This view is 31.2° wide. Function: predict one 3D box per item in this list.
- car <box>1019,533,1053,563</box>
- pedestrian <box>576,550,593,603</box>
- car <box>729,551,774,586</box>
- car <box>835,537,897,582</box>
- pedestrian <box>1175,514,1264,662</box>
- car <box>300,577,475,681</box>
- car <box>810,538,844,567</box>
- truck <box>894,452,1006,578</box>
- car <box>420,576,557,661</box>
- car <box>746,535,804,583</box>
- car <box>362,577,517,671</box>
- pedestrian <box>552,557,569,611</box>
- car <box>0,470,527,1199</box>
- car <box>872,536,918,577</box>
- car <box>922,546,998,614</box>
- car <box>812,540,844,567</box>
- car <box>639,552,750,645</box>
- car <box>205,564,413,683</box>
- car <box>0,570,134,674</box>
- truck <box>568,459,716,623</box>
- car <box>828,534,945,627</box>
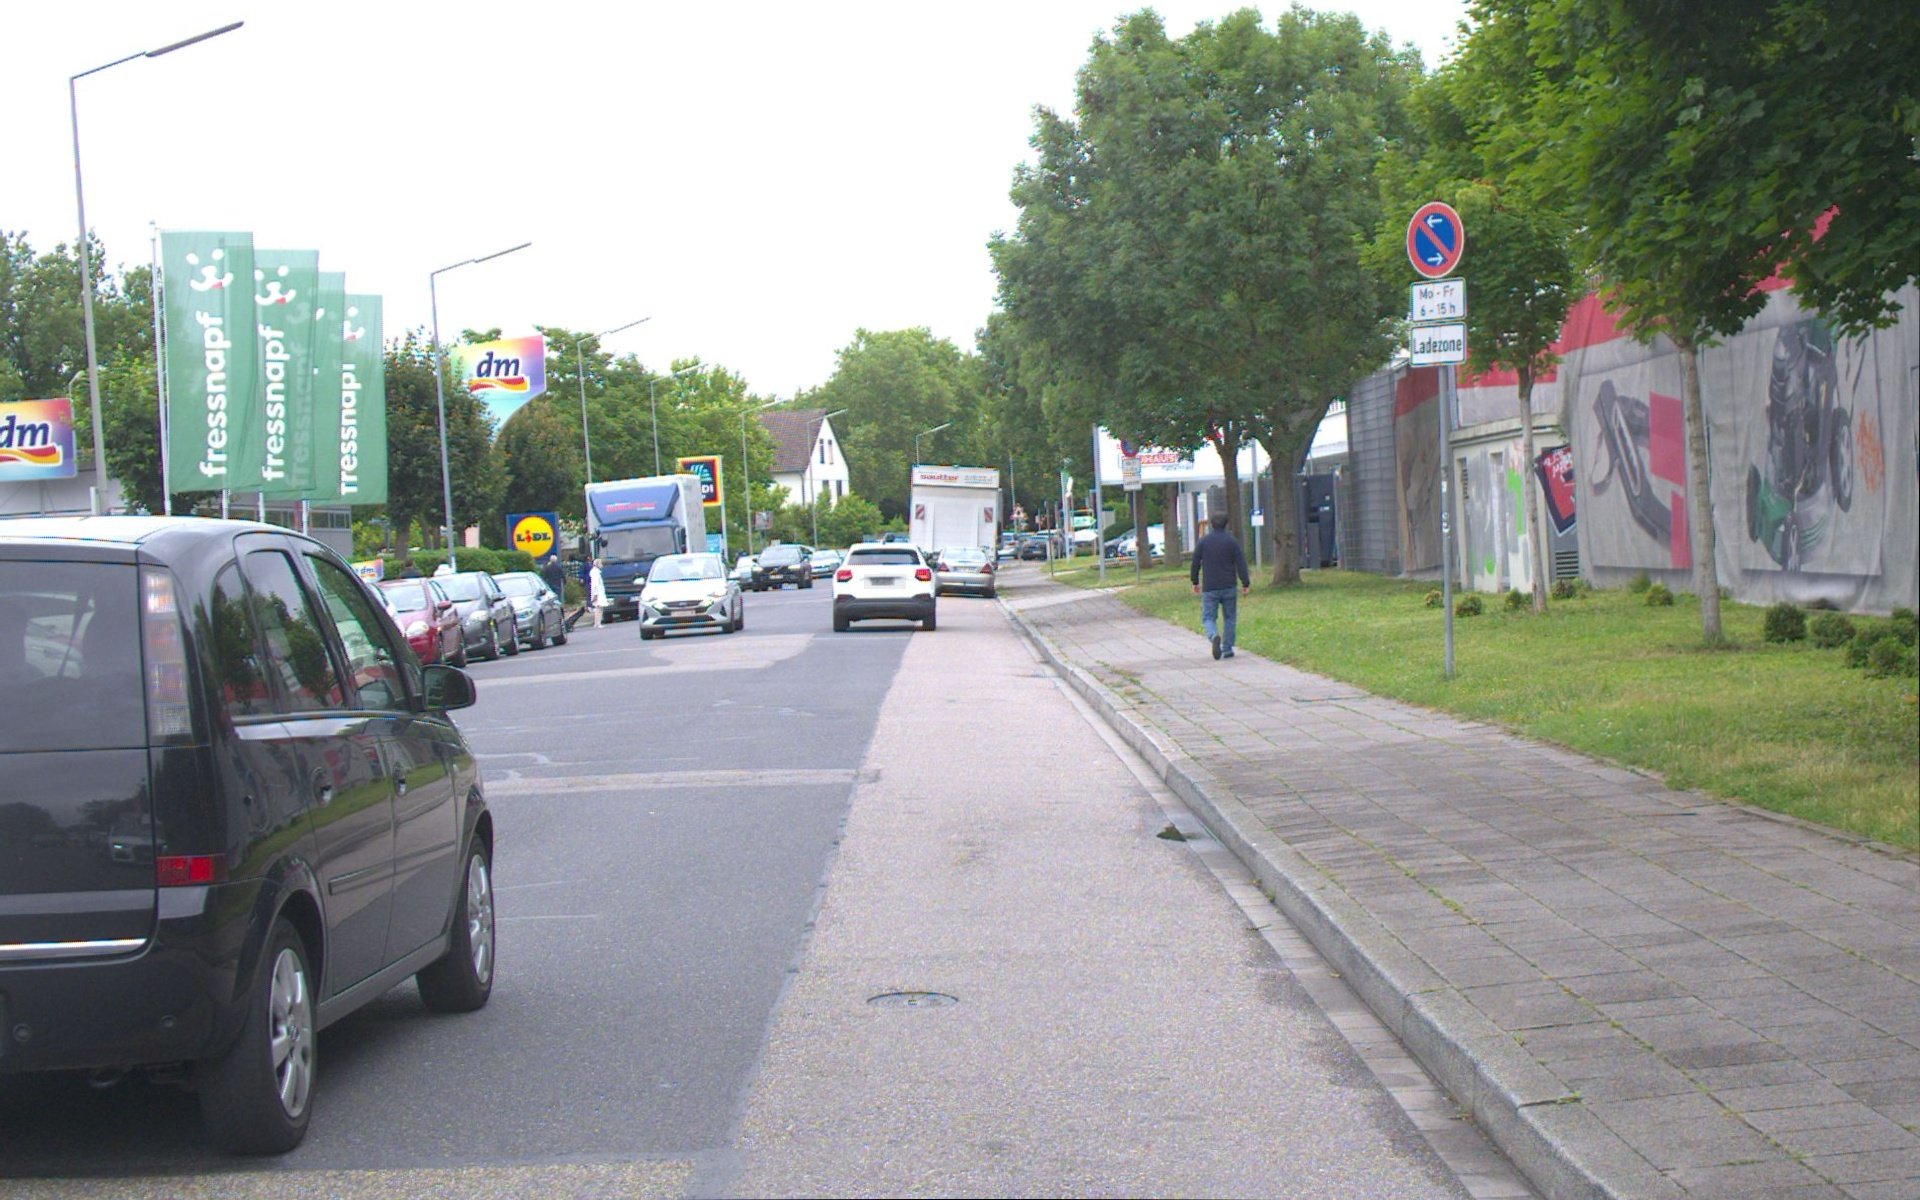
[{"bbox_3d":[4.409,-3.047,200.169,1.886,1.677,4.254,-1,1,1],"label":"car"},{"bbox_3d":[-11.011,-0.685,100.815,0.401,1.526,0.485,-4,1,-6],"label":"pedestrian"},{"bbox_3d":[-8.485,-1.285,140.038,1.623,1.370,3.453,-2,0,-1],"label":"car"},{"bbox_3d":[-3.162,-1.370,116.302,1.937,1.362,4.000,-4,1,-1],"label":"car"},{"bbox_3d":[2.929,-0.136,38.877,0.919,1.629,0.852,-2,0,2],"label":"pedestrian"},{"bbox_3d":[-8.595,0.412,51.879,1.898,1.362,4.000,-3,1,0],"label":"car"},{"bbox_3d":[-6.716,-2.395,173.601,1.541,1.361,3.428,-2,0,0],"label":"car"},{"bbox_3d":[-0.393,-2.513,105.274,3.135,3.572,10.051,-2,0,-1],"label":"truck"},{"bbox_3d":[-8.636,0.321,63.274,1.898,1.362,4.000,-3,1,0],"label":"car"},{"bbox_3d":[-6.839,-1.516,127.310,1.993,1.678,4.000,-2,0,-1],"label":"car"},{"bbox_3d":[-8.646,0.369,57.372,1.898,1.362,4.000,-3,1,0],"label":"car"},{"bbox_3d":[-11.449,-0.460,98.473,0.401,1.526,0.485,-4,1,-6],"label":"pedestrian"},{"bbox_3d":[-2.421,0.530,9.632,1.681,1.626,3.759,-3,1,3],"label":"car"},{"bbox_3d":[-2.866,-1.915,150.973,1.869,1.656,4.000,-3,1,-2],"label":"car"},{"bbox_3d":[-0.028,-0.571,96.123,1.993,1.800,4.000,-2,0,-1],"label":"car"},{"bbox_3d":[-6.881,-2.440,179.853,1.549,1.359,3.499,-2,0,-1],"label":"car"},{"bbox_3d":[-4.799,-0.041,62.506,1.599,1.523,3.528,-5,1,1],"label":"car"},{"bbox_3d":[-8.458,0.275,45.010,1.898,1.362,4.000,-3,1,0],"label":"car"},{"bbox_3d":[-14.937,0.396,52.637,4.135,1.458,1.899,-3,1,-5],"label":"car"},{"bbox_3d":[-8.330,-1.563,90.831,2.973,3.942,6.405,-4,1,1],"label":"truck"},{"bbox_3d":[-1.251,-0.374,60.192,1.886,1.526,4.254,-1,1,1],"label":"car"}]
